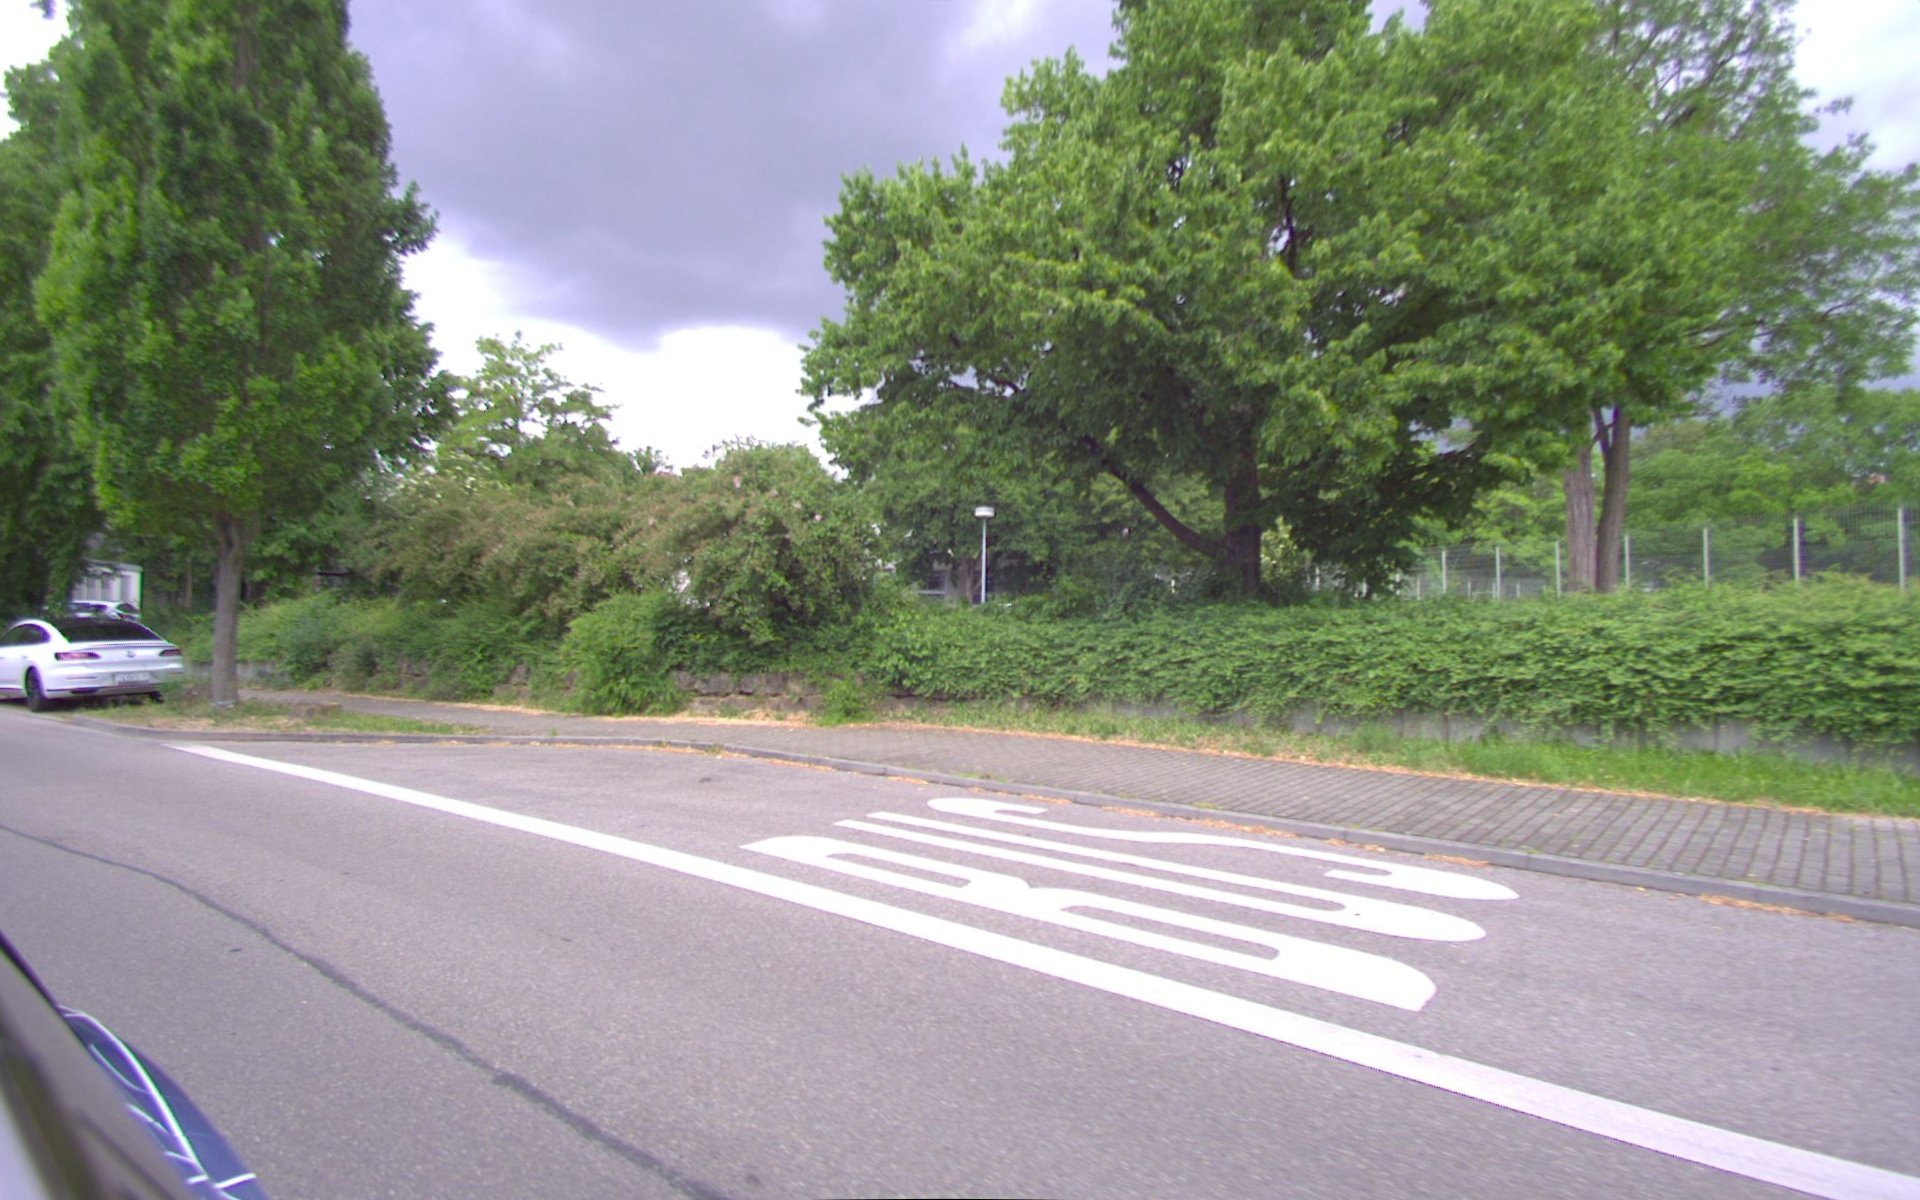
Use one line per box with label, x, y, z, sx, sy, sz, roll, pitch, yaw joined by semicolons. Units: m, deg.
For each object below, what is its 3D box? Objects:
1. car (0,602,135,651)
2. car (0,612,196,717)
car;-32.606;0.931;36.631;3.747;1.650;2.006;0;1;-15
car;-14.641;0.967;16.602;4.620;1.503;1.834;-1;-1;32
